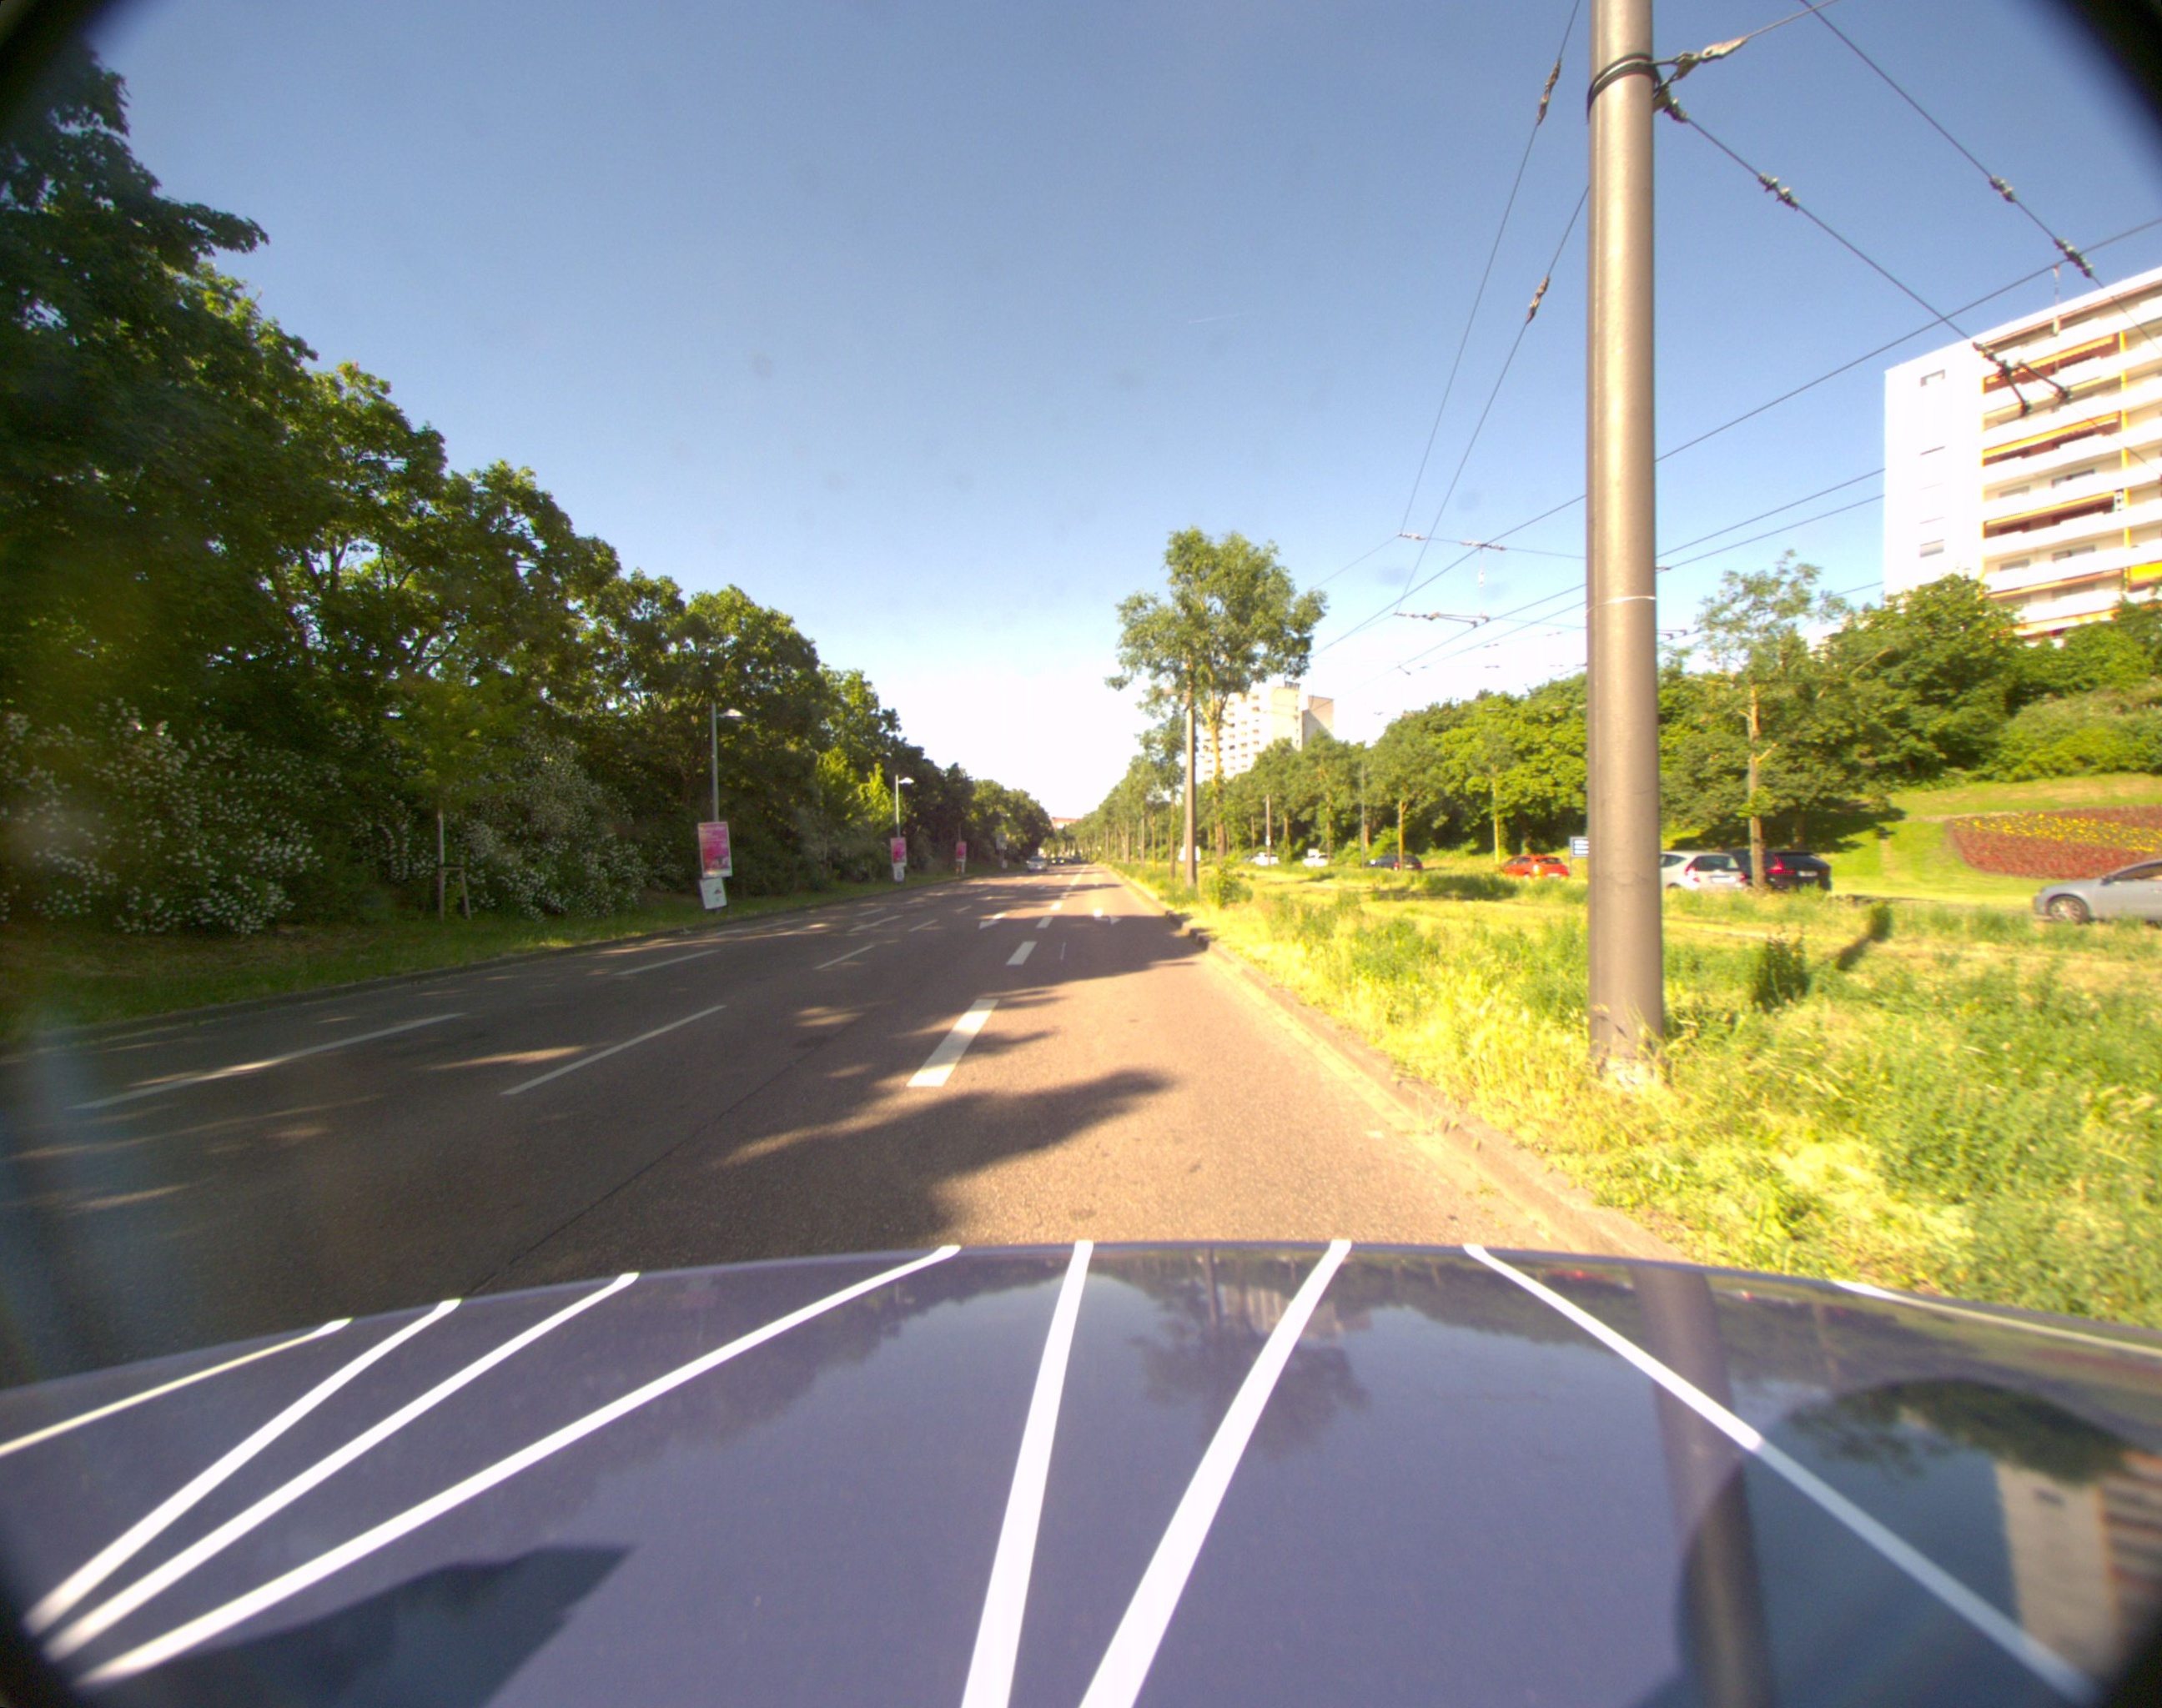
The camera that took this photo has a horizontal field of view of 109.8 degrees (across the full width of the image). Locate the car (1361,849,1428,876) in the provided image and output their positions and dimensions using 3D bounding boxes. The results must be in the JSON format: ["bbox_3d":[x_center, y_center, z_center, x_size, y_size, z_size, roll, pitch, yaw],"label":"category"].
[{"bbox_3d":[18.281,0.458,44.572,1.998,1.401,4.990,-2,1,2],"label":"car"}]

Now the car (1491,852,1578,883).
[{"bbox_3d":[21.216,0.585,35.771,1.661,1.290,4.177,-2,1,1],"label":"car"}]

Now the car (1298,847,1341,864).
[{"bbox_3d":[21.314,0.143,68.124,1.905,1.390,4.539,-2,1,-8],"label":"car"}]

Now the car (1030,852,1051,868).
[{"bbox_3d":[-4.130,0.571,77.500,1.672,1.531,4.060,-4,0,1],"label":"car"}]

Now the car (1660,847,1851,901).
[{"bbox_3d":[21.106,0.546,24.102,1.998,1.472,4.631,-2,1,1],"label":"car"}]

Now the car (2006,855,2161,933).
[{"bbox_3d":[21.209,0.752,14.257,1.998,1.424,4.693,0,1,0],"label":"car"}]

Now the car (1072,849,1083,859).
[{"bbox_3d":[-0.626,-0.004,135.055,1.999,1.696,3.999,-2,1,-1],"label":"car"}]

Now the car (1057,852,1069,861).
[{"bbox_3d":[-2.987,0.356,125.940,1.831,1.400,4.216,-1,0,-1],"label":"car"}]

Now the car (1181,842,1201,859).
[{"bbox_3d":[16.625,-0.519,114.750,2.044,2.355,6.880,-2,1,1],"label":"car"}]

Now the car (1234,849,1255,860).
[{"bbox_3d":[19.797,0.068,92.005,1.802,1.285,4.000,-2,1,3],"label":"car"}]

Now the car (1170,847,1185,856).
[{"bbox_3d":[17.694,-0.477,139.271,1.998,1.575,5.272,-2,1,1],"label":"car"}]

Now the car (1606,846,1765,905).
[{"bbox_3d":[17.850,0.581,22.688,1.767,1.599,3.757,0,1,1],"label":"car"}]

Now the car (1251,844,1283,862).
[{"bbox_3d":[17.957,-0.107,73.516,1.899,1.612,4.656,-2,1,-1],"label":"car"}]
